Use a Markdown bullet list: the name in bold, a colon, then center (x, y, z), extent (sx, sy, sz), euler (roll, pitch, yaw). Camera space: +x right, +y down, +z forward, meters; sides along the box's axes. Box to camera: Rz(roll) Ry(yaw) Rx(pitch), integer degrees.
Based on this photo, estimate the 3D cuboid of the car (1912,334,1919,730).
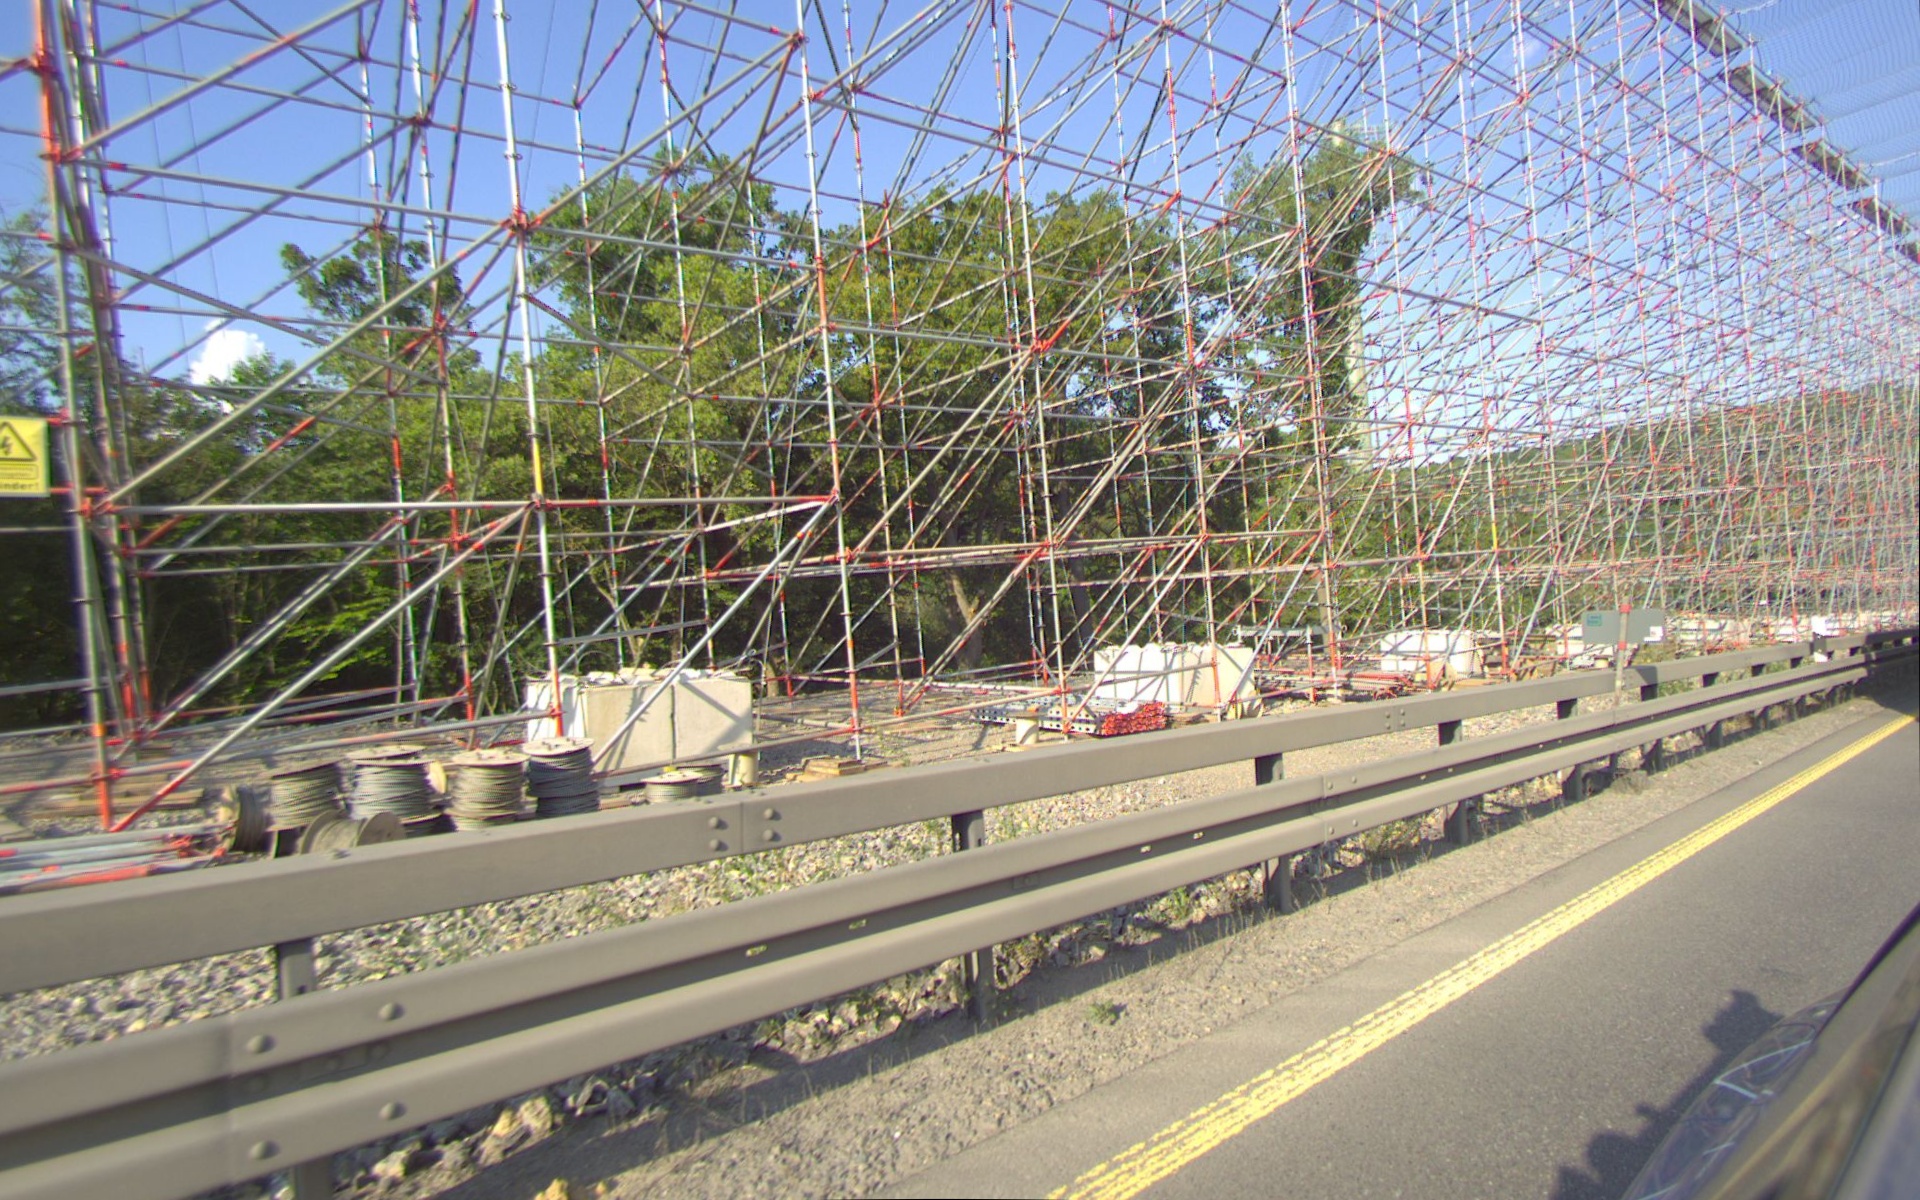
- **car**: center (14.108, -0.750, 12.120), extent (8.131, 4.167, 2.858), euler (-1, 0, -39)
